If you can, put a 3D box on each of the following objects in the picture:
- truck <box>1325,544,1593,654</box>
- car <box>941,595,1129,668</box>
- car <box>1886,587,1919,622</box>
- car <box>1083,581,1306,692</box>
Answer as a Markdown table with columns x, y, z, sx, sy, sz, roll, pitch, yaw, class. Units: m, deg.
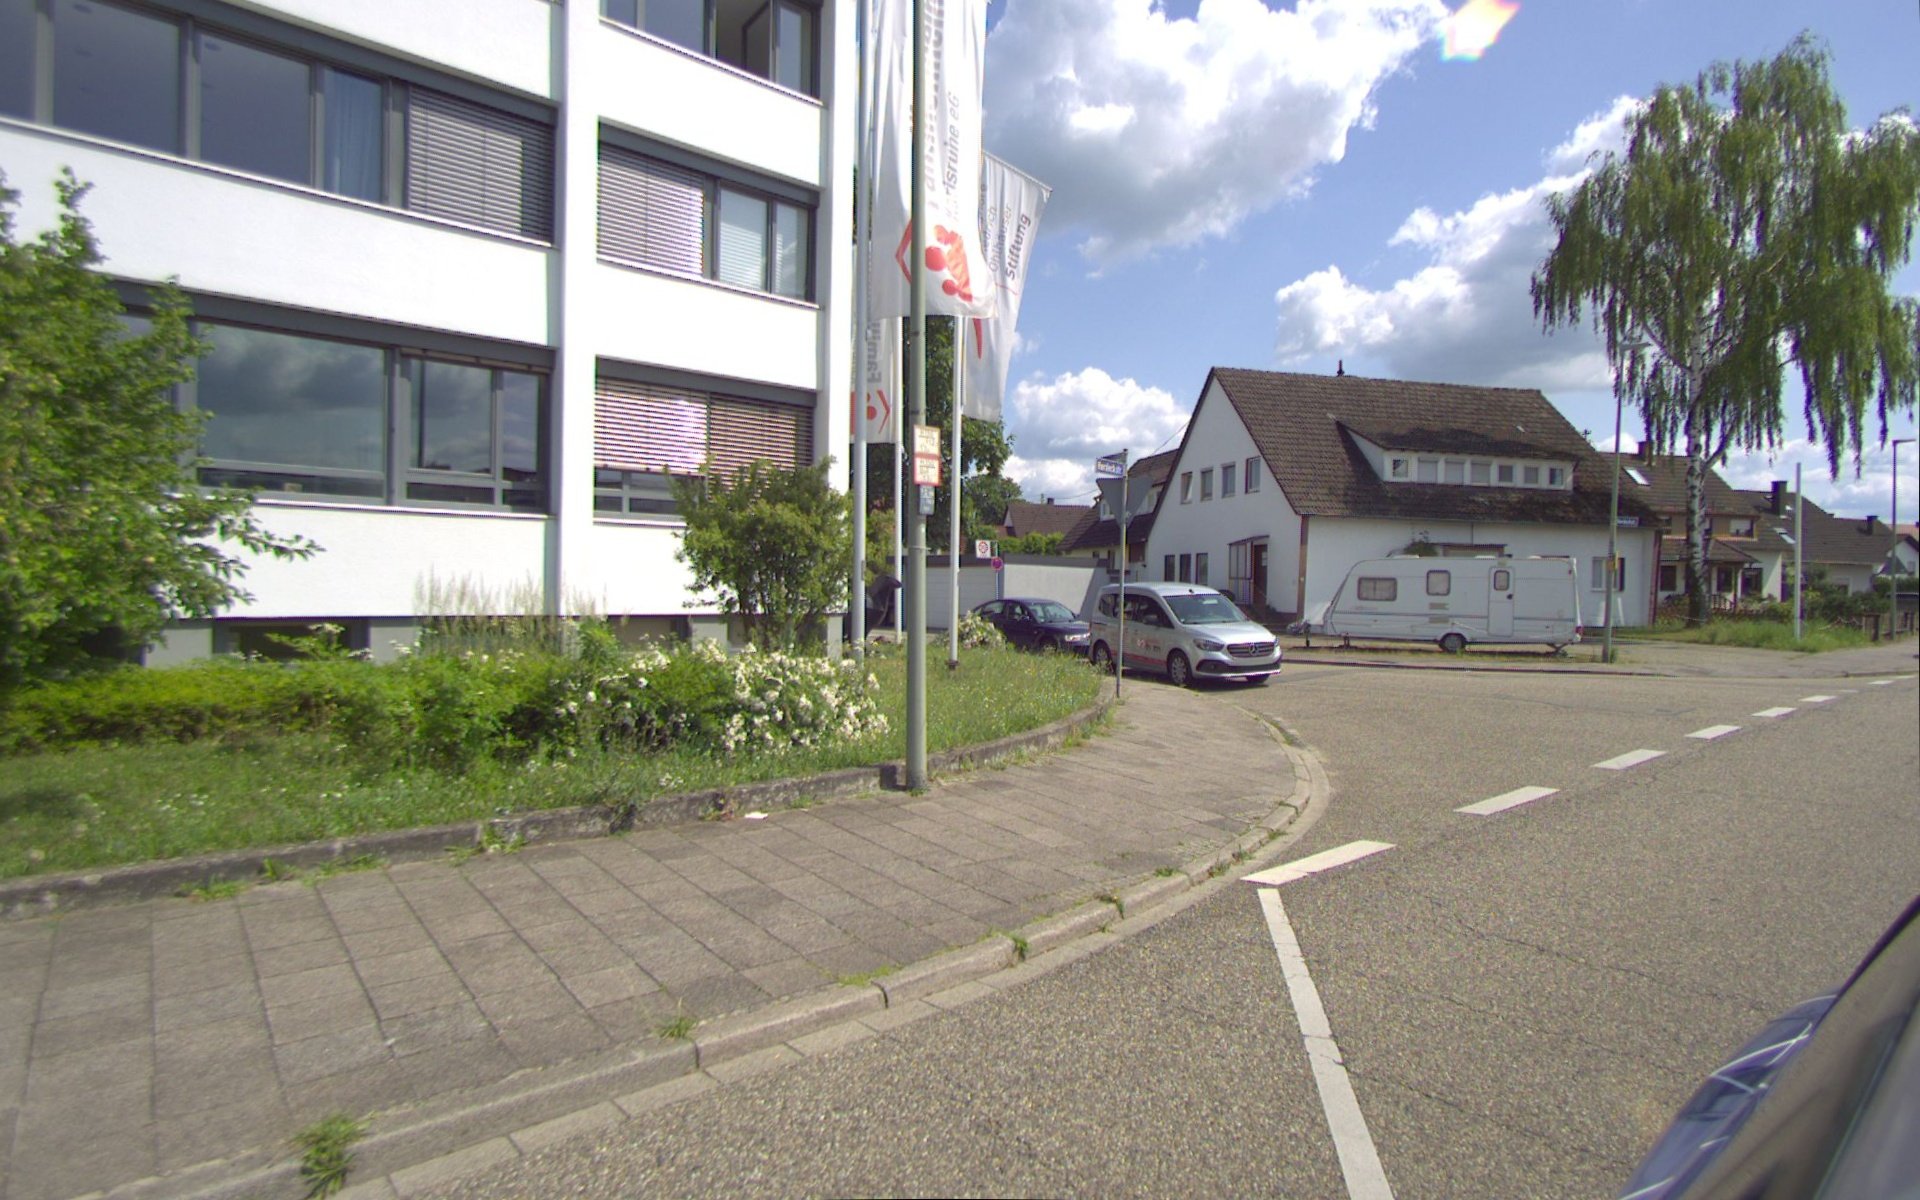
| x | y | z | sx | sy | sz | roll | pitch | yaw | class |
| --- | --- | --- | --- | --- | --- | --- | --- | --- | --- |
| 12.777 | -0.048 | 26.408 | 5.994 | 2.610 | 2.545 | 0 | 0 | 24 | truck |
| 1.623 | 0.647 | 23.569 | 1.727 | 1.445 | 4.625 | -2 | 2 | -38 | car |
| 53.775 | 0.249 | 57.241 | 1.858 | 1.889 | 4.939 | 1 | 1 | 45 | car |
| 4.140 | 0.551 | 18.700 | 1.826 | 1.774 | 4.419 | -1 | 1 | -22 | car |
